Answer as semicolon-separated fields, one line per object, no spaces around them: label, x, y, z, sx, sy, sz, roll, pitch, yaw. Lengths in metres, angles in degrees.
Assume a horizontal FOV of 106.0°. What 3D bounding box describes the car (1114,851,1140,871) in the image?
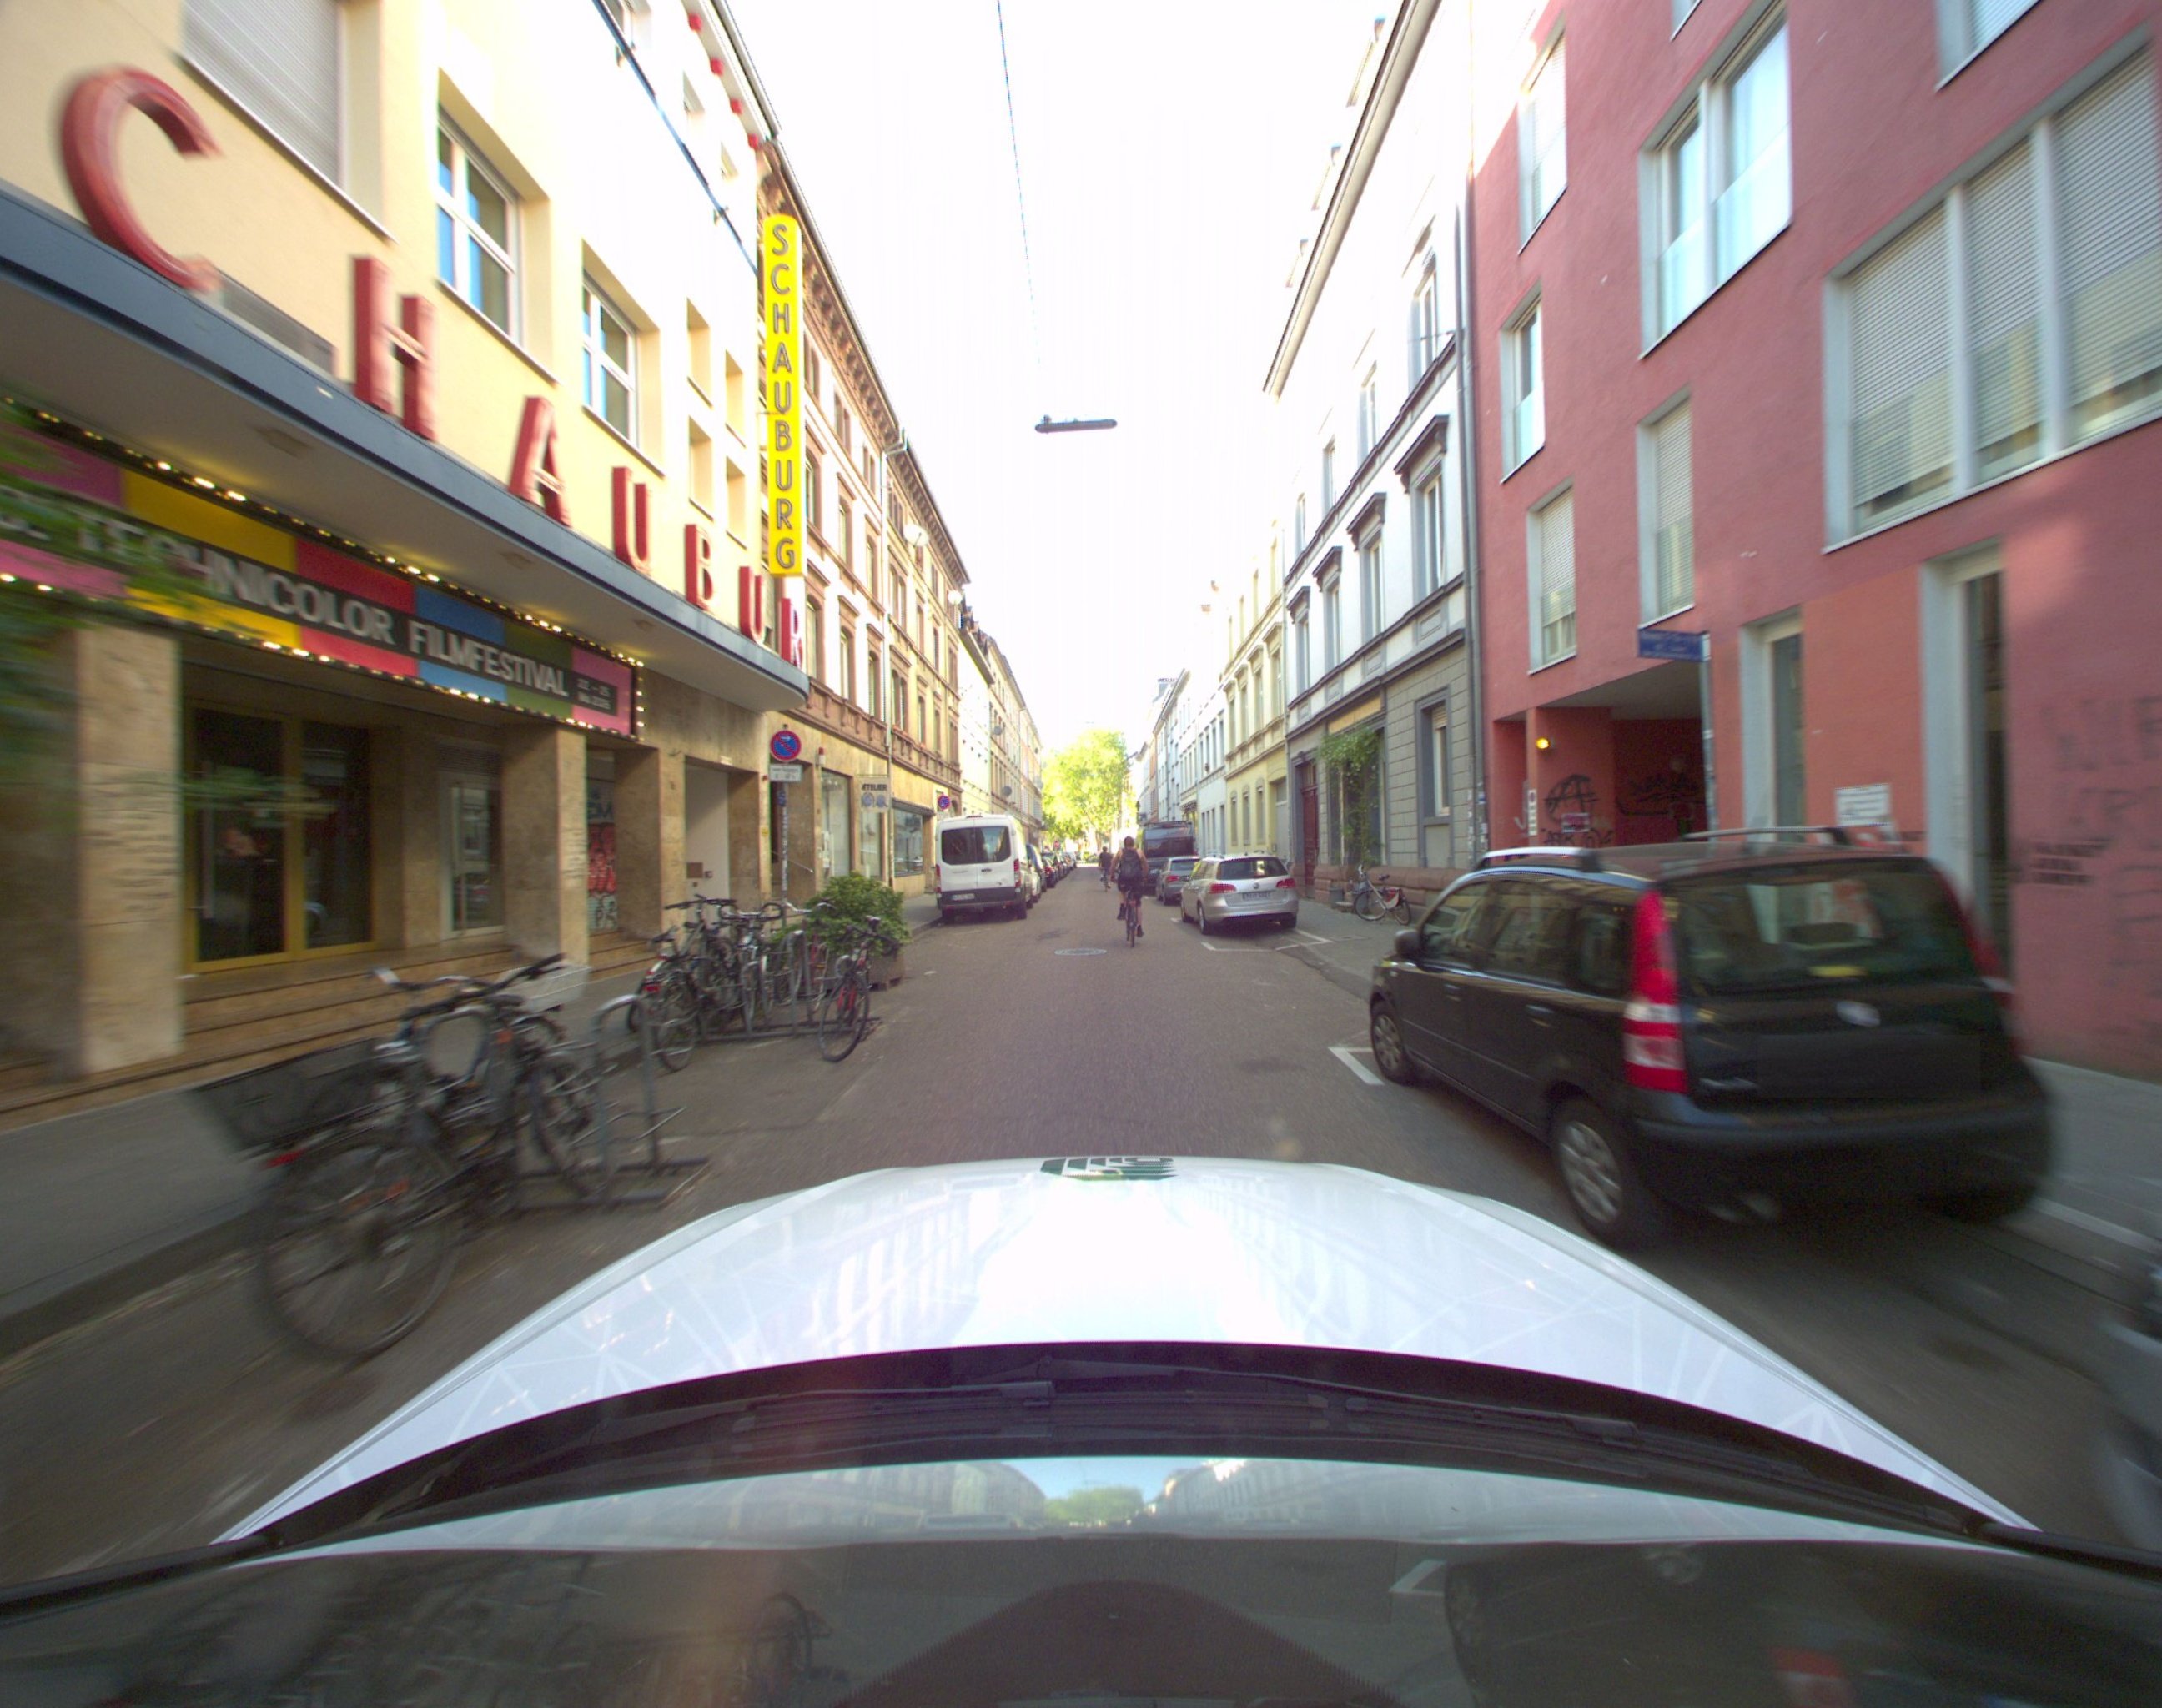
car;3.624;0.533;64.777;1.726;1.470;4.018;-2;0;-2

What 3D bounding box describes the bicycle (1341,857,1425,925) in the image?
bicycle;5.413;0.627;14.740;0.708;1.097;1.900;-4;0;-2

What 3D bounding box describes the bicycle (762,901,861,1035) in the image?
bicycle;-2.605;1.050;8.037;0.441;1.047;1.863;0;0;-3

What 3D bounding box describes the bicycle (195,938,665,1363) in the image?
bicycle;-2.475;1.001;3.441;0.545;1.094;1.880;0;0;-3

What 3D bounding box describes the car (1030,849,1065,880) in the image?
car;-2.026;0.621;49.868;1.795;1.698;4.000;-4;0;1

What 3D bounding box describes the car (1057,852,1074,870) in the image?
car;-1.510;0.637;77.218;1.540;1.550;3.462;-2;0;-2

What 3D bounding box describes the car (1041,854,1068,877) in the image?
car;-1.759;0.768;54.846;1.586;1.440;3.655;-2;0;2

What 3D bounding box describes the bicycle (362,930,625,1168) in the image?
bicycle;-3.335;1.040;4.787;0.572;1.045;1.408;-1;0;-3

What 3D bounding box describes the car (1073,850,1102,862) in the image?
car;1.069;0.314;128.563;4.460;1.759;1.864;-2;0;-4

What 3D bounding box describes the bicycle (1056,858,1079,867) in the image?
bicycle;-1.624;1.033;98.981;2.709;0.892;0.618;-2;0;-2

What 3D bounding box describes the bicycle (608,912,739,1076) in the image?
bicycle;-3.133;1.027;6.371;0.416;1.047;1.317;0;0;-3

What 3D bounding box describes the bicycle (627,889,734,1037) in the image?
bicycle;-3.681;0.944;7.591;0.338;1.174;1.488;0;0;-3

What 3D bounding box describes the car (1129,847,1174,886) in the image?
car;3.237;0.537;38.217;1.688;1.608;4.375;-3;0;0

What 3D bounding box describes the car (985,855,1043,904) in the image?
car;-2.187;0.801;27.556;1.640;1.447;3.838;-2;0;-1

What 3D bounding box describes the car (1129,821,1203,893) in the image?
car;3.162;0.102;31.741;2.168;2.425;6.309;-3;0;0

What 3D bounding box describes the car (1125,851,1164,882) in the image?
car;3.282;0.607;42.968;1.740;1.485;4.243;-2;0;0

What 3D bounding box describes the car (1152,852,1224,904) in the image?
car;3.254;0.687;25.414;1.741;1.444;4.172;-1;0;1

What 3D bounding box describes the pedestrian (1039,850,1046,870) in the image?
pedestrian;-3.615;0.557;76.973;0.608;1.858;0.754;1;0;0

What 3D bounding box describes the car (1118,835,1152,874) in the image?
car;3.817;0.024;58.247;2.195;2.550;6.040;-2;0;3

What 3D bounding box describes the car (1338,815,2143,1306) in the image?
car;2.747;0.690;4.455;1.596;1.539;3.452;-4;0;2

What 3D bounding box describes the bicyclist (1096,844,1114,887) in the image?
bicyclist;0.958;0.447;32.528;0.667;1.658;0.877;-2;0;1

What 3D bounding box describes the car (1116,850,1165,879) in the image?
car;3.435;0.578;47.751;1.811;1.478;4.594;-5;1;-9

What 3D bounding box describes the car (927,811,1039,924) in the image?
car;-2.376;0.297;21.503;2.161;2.452;5.920;-3;0;-1

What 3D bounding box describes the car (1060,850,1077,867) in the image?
car;-1.331;0.472;89.421;1.782;1.737;3.876;-2;0;0

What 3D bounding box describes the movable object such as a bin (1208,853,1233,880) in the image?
movable object such as a bin;5.815;0.529;33.992;0.860;1.042;0.707;-5;0;-2

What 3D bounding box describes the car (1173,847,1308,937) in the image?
car;3.067;0.665;16.593;1.780;1.454;4.546;-4;0;0

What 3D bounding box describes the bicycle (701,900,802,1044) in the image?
bicycle;-3.190;1.086;8.009;0.398;1.174;1.668;0;0;-3

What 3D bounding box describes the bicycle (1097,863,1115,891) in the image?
bicycle;0.972;0.902;32.497;0.662;1.037;1.959;-2;0;1

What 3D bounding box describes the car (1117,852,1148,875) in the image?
car;3.309;0.589;52.804;1.720;1.429;3.831;-2;0;-1

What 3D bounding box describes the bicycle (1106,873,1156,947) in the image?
bicycle;0.810;0.896;13.700;0.737;1.100;2.042;0;0;0

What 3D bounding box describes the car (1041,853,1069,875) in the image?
car;-1.888;0.710;59.823;1.667;1.430;3.891;-2;0;3

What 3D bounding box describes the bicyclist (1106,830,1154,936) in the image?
bicyclist;0.804;0.461;13.548;0.737;1.679;1.116;0;0;0

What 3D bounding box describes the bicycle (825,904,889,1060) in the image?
bicycle;-1.907;1.006;6.972;0.461;1.047;1.741;0;0;-15

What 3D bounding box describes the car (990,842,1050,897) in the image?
car;-2.333;0.554;32.153;1.821;1.891;4.614;-4;0;1

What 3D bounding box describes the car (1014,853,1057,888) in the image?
car;-2.101;0.749;38.846;1.857;1.440;4.643;-2;1;-1

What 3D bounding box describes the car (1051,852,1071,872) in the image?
car;-1.688;0.674;69.843;1.600;1.530;3.377;-3;0;-1
